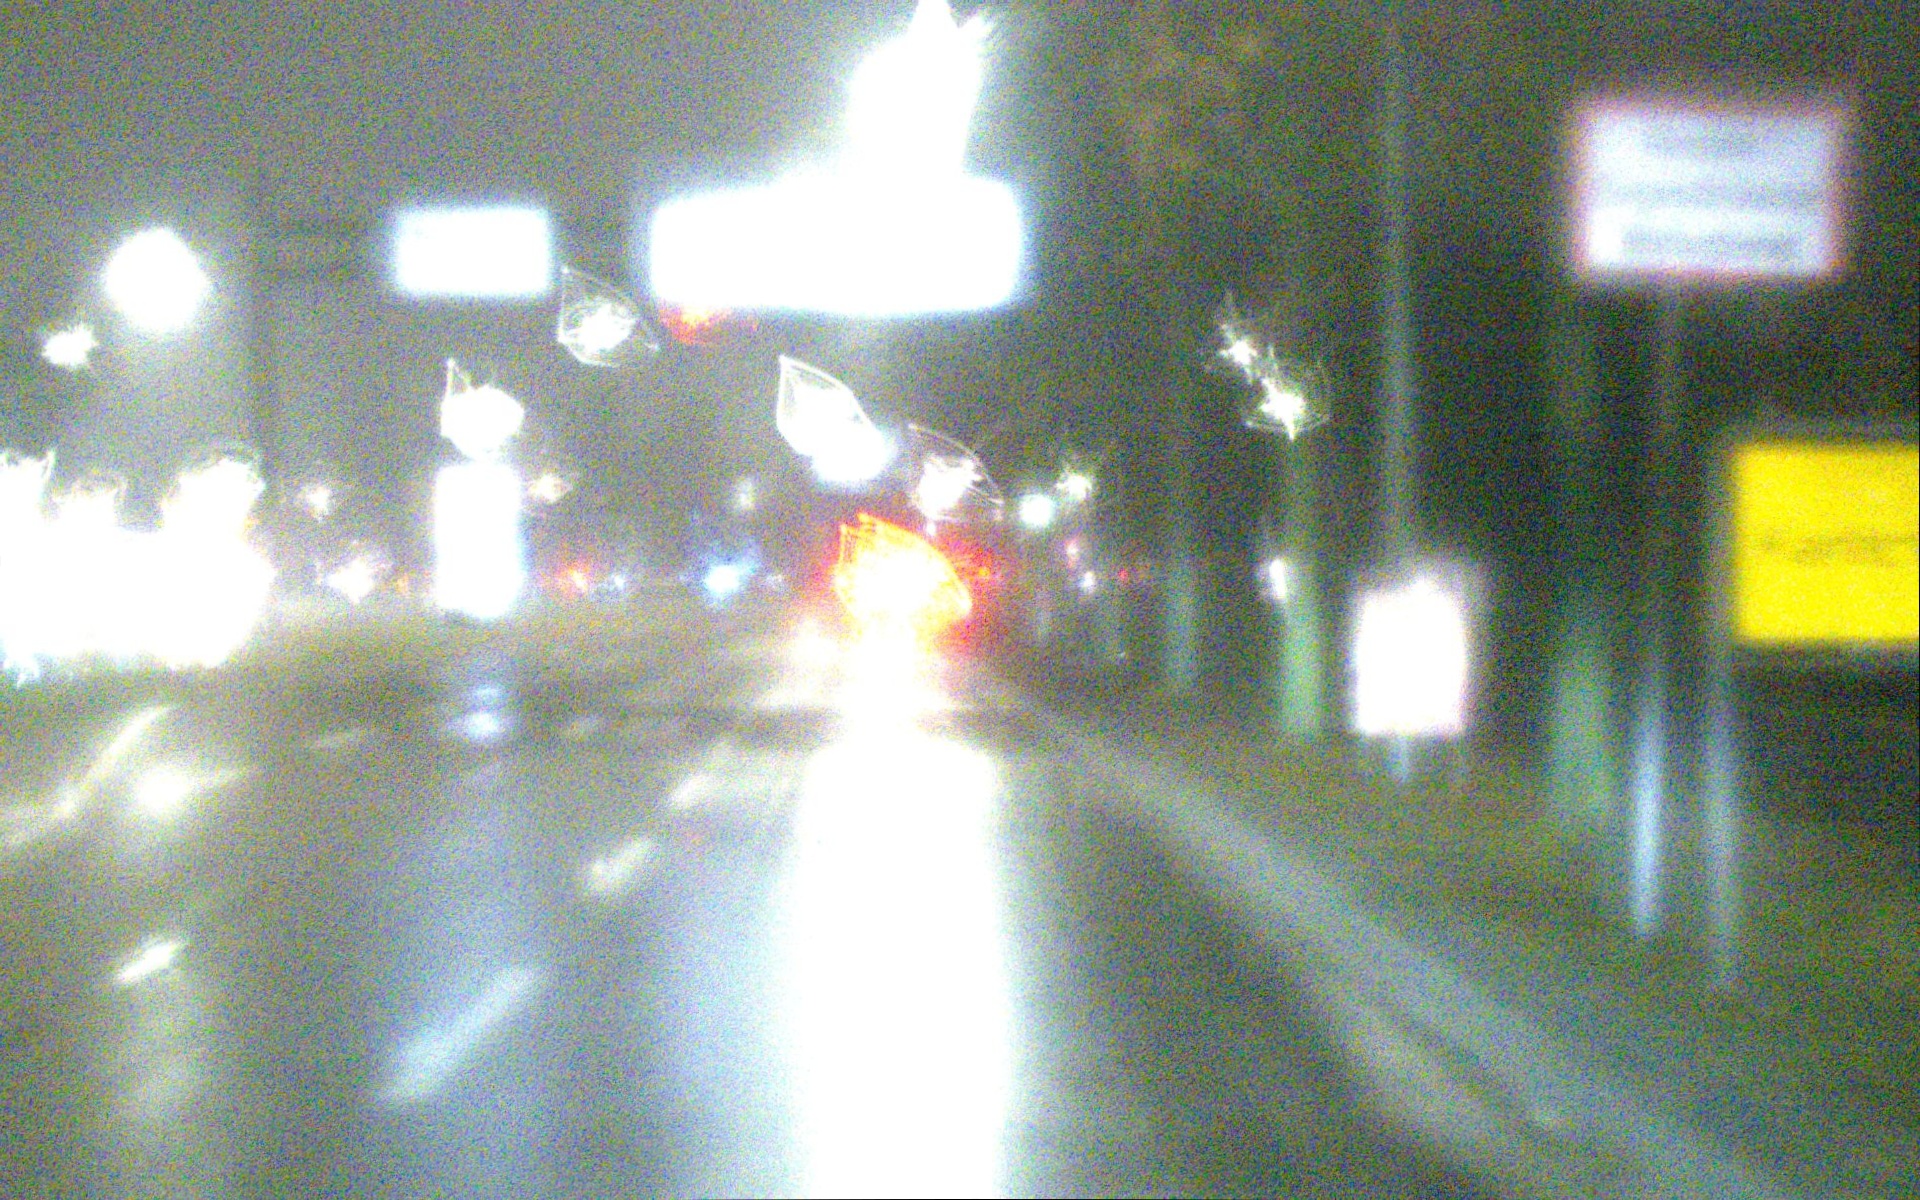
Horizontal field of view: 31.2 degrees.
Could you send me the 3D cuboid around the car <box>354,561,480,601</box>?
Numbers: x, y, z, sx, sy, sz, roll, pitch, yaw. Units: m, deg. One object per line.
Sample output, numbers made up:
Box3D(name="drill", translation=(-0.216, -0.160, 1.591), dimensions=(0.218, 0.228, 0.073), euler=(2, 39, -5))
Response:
Box3D(name="car", translation=(-29.680, -1.049, 187.959), dimensions=(6.292, 2.082, 2.516), euler=(1, 1, -26))
